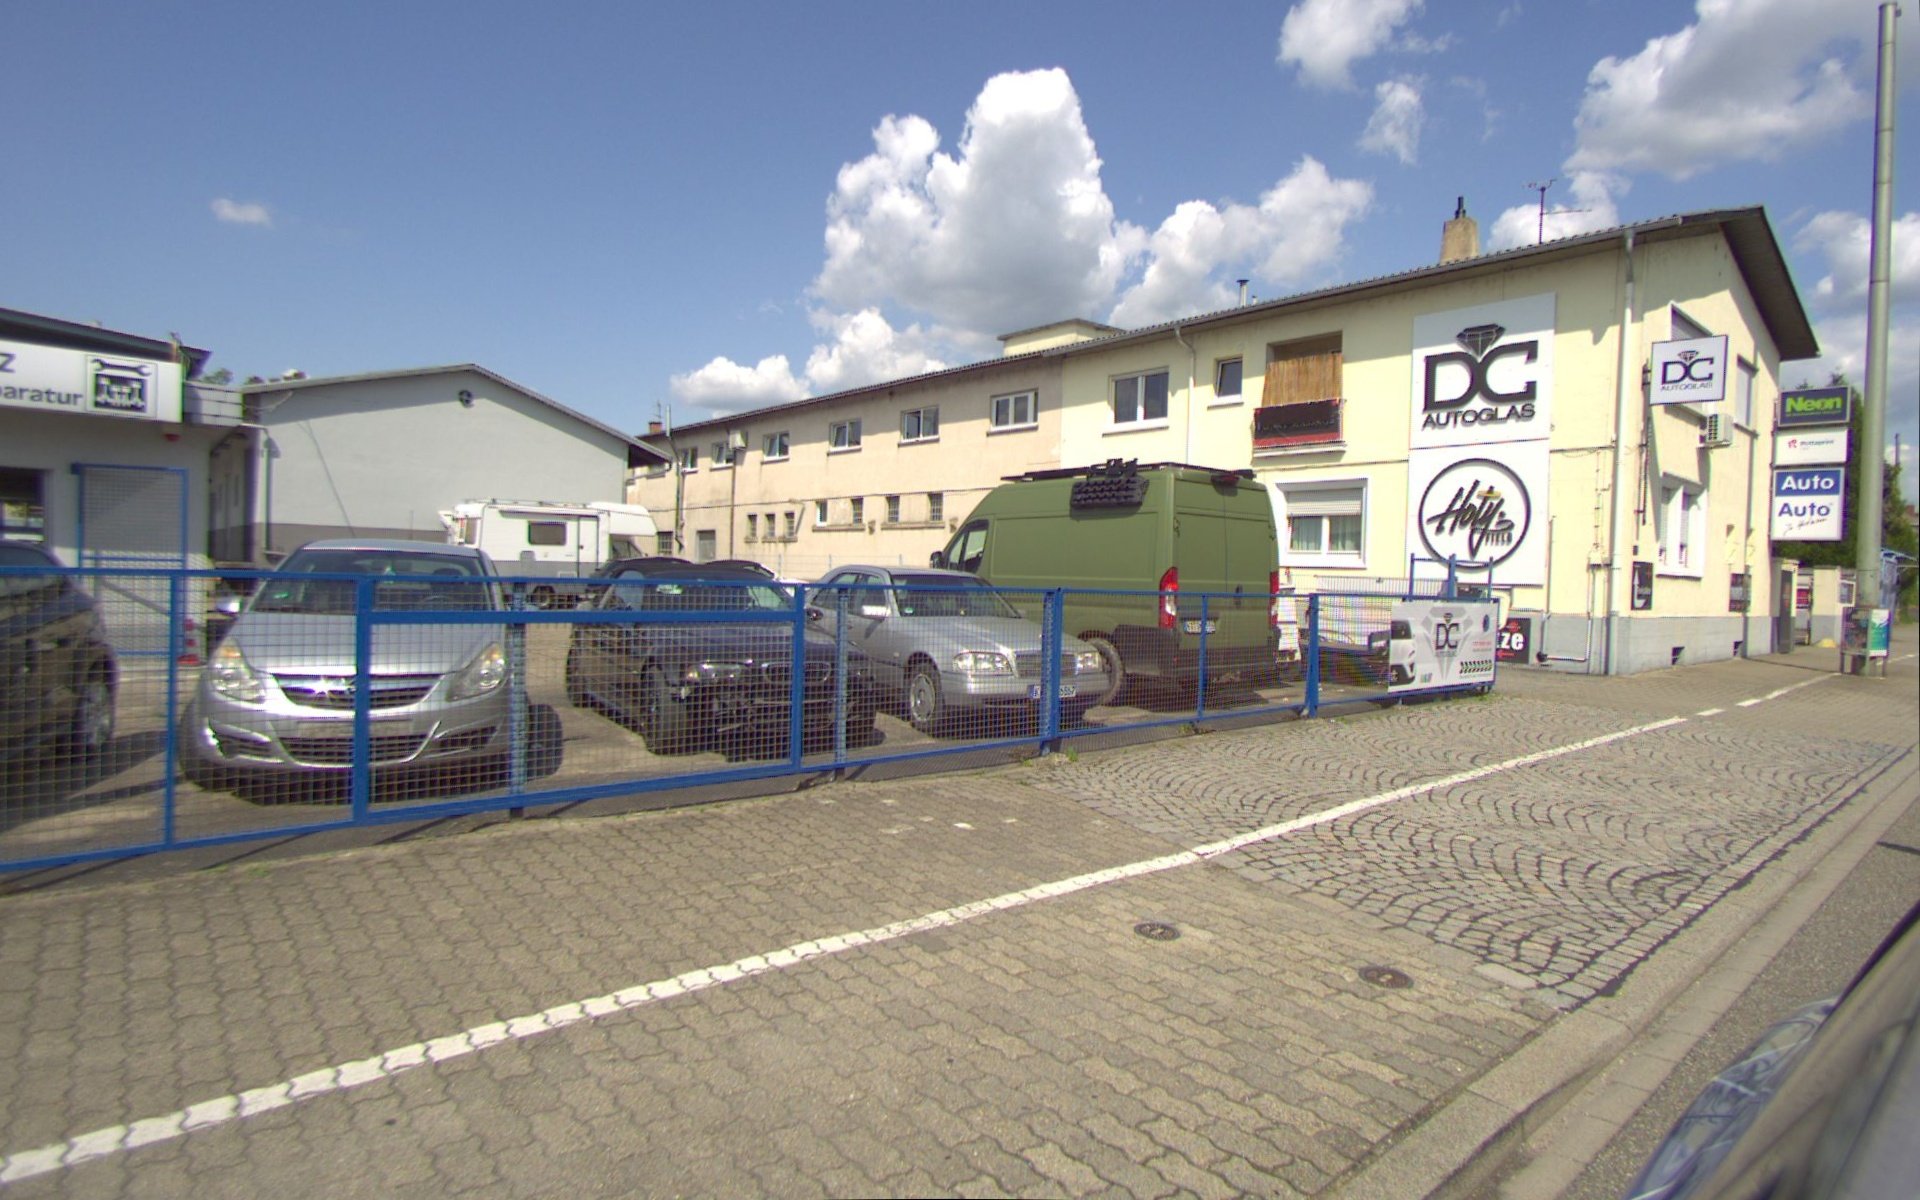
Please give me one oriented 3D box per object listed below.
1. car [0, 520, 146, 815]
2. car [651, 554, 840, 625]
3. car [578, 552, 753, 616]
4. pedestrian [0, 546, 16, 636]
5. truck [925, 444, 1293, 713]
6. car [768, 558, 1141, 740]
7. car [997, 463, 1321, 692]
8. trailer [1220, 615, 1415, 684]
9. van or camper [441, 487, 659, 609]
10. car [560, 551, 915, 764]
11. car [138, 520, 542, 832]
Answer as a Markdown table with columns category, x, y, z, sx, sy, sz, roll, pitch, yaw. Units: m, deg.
| category | x | y | z | sx | sy | sz | roll | pitch | yaw |
| --- | --- | --- | --- | --- | --- | --- | --- | --- | --- |
| car | -5.744 | 0.323 | 5.036 | 1.685 | 1.497 | 4.012 | 1 | 2 | -25 |
| car | -4.924 | -0.246 | 23.522 | 3.939 | 1.497 | 1.719 | 0 | 2 | -41 |
| car | -7.477 | -0.410 | 25.892 | 3.939 | 1.497 | 1.719 | 0 | 2 | -41 |
| pedestrian | -13.256 | -0.129 | 13.843 | 0.479 | 1.228 | 0.501 | 1 | 1 | -42 |
| truck | 1.625 | -0.286 | 12.148 | 2.033 | 2.639 | 3.996 | 1 | 2 | -40 |
| car | -0.294 | 0.318 | 10.208 | 1.768 | 1.413 | 4.216 | 1 | 2 | -33 |
| car | 2.614 | -0.346 | 14.146 | 1.771 | 2.702 | 4.208 | 1 | 2 | -40 |
| trailer | 5.084 | 0.669 | 14.531 | 1.245 | 0.776 | 2.330 | 0 | 2 | -39 |
| van or camper | -11.006 | -1.323 | 27.370 | 4.971 | 2.999 | 2.284 | 0 | 2 | -42 |
| car | -2.122 | 0.309 | 8.749 | 1.768 | 1.403 | 3.837 | 1 | 2 | -32 |
| car | -3.948 | 0.301 | 7.105 | 1.766 | 1.497 | 4.158 | 1 | 2 | -24 |
